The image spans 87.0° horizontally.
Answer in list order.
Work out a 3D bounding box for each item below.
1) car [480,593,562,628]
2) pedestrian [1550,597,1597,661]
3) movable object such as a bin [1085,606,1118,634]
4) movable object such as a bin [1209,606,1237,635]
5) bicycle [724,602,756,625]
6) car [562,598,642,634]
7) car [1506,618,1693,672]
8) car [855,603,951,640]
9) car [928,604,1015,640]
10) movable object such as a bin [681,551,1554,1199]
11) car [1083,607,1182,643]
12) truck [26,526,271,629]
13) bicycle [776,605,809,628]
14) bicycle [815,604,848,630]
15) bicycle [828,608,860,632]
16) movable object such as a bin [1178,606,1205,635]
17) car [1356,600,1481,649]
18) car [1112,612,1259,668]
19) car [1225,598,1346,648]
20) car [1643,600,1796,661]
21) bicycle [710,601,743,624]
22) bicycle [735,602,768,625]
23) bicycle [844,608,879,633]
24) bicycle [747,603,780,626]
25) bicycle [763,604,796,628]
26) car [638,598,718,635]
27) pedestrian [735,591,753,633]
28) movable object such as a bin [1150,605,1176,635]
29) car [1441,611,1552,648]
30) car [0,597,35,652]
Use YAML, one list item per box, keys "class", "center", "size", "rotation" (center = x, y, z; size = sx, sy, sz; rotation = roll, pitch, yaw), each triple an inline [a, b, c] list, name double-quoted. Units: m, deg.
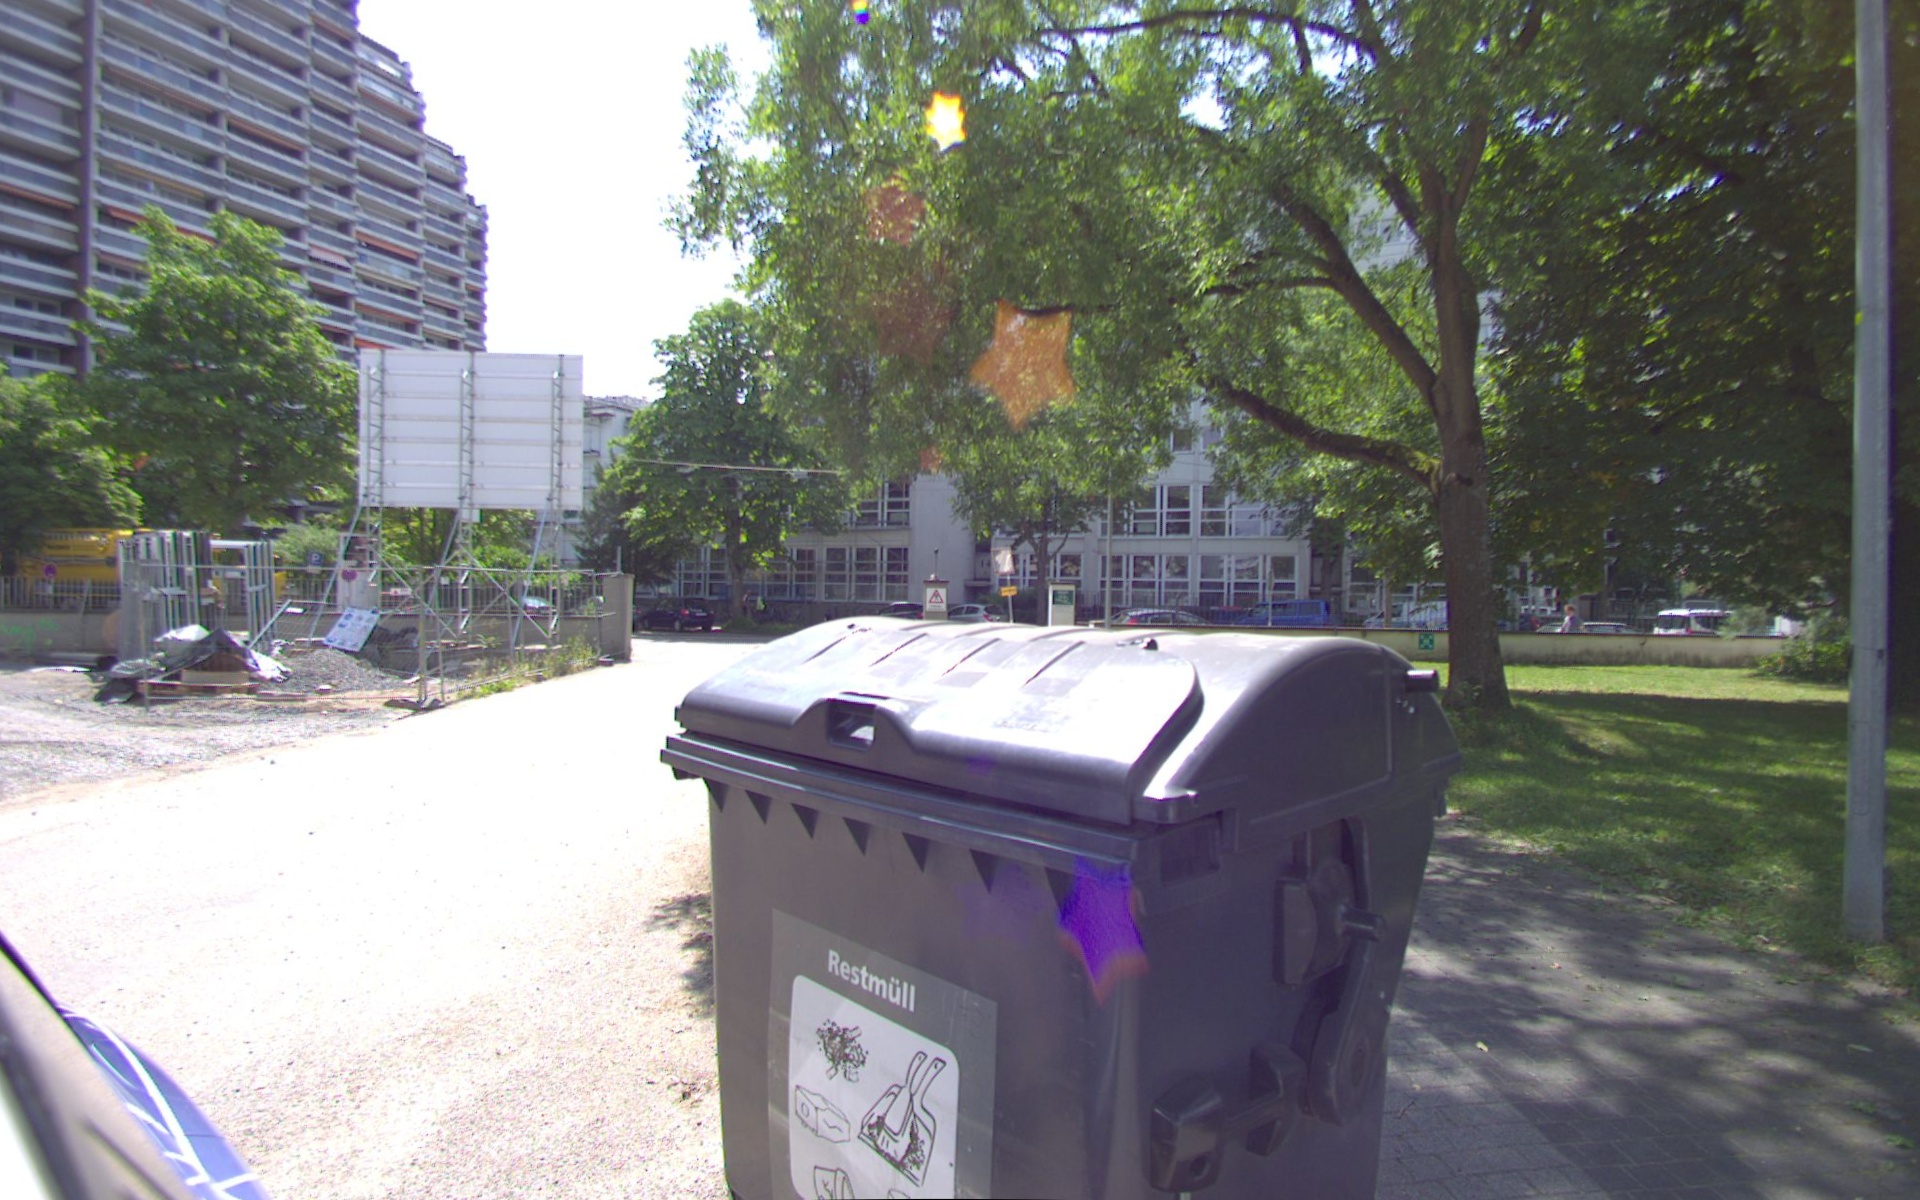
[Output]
- class: "car"
  center: [-18.613, 0.429, 42.875]
  size: [4.021, 1.383, 1.608]
  rotation: [0, 0, 41]
- class: "pedestrian"
  center: [15.410, 0.715, 25.445]
  size: [0.733, 1.579, 0.698]
  rotation: [0, 0, -5]
- class: "movable object such as a bin"
  center: [6.912, 0.975, 49.406]
  size: [1.431, 1.340, 1.126]
  rotation: [1, -1, -1]
- class: "movable object such as a bin"
  center: [12.873, 1.013, 49.643]
  size: [1.167, 1.409, 1.036]
  rotation: [1, -1, 5]
- class: "bicycle"
  center: [-11.202, 0.676, 51.594]
  size: [0.565, 1.139, 1.911]
  rotation: [0, -1, 25]
- class: "car"
  center: [-15.241, 0.661, 42.980]
  size: [1.792, 1.474, 4.027]
  rotation: [0, 0, -43]
- class: "car"
  center: [18.045, 1.256, 28.682]
  size: [4.092, 1.429, 1.884]
  rotation: [1, -1, 0]
- class: "car"
  center: [-2.514, 0.908, 44.014]
  size: [4.195, 1.481, 1.730]
  rotation: [0, -1, 41]
- class: "car"
  center: [0.482, 0.924, 44.091]
  size: [3.538, 1.473, 1.730]
  rotation: [0, -1, 41]
- class: "movable object such as a bin"
  center: [0.265, 0.657, 1.874]
  size: [1.099, 1.404, 1.162]
  rotation: [1, -1, -42]
- class: "car"
  center: [7.499, 1.064, 44.126]
  size: [3.979, 1.424, 1.692]
  rotation: [0, -1, 41]
- class: "truck"
  center: [-33.769, -0.943, 42.134]
  size: [9.650, 4.036, 2.739]
  rotation: [1, 0, 14]
- class: "bicycle"
  center: [-8.277, 0.818, 50.104]
  size: [0.566, 1.139, 1.925]
  rotation: [0, -1, 28]
- class: "bicycle"
  center: [-6.306, 0.854, 49.760]
  size: [0.566, 1.247, 1.925]
  rotation: [0, -1, 28]
- class: "bicycle"
  center: [-5.631, 0.949, 49.255]
  size: [0.566, 1.139, 1.925]
  rotation: [0, -1, 28]
- class: "movable object such as a bin"
  center: [11.363, 0.996, 49.672]
  size: [1.167, 1.409, 1.036]
  rotation: [1, -1, 5]
- class: "car"
  center: [20.127, 1.018, 44.594]
  size: [1.968, 2.029, 4.638]
  rotation: [1, -1, -40]
- class: "car"
  center: [6.269, 1.126, 28.333]
  size: [3.668, 1.468, 1.591]
  rotation: [1, -3, -6]
- class: "car"
  center: [14.142, 0.964, 44.162]
  size: [4.630, 2.029, 1.972]
  rotation: [0, -1, 42]
- class: "car"
  center: [25.023, 0.999, 33.411]
  size: [3.940, 1.868, 1.521]
  rotation: [0, 3, -4]
- class: "bicycle"
  center: [-11.943, 0.644, 51.825]
  size: [0.565, 1.139, 1.911]
  rotation: [0, -1, 25]
- class: "bicycle"
  center: [-10.530, 0.691, 51.220]
  size: [0.566, 1.139, 1.909]
  rotation: [0, -1, 28]
- class: "bicycle"
  center: [-4.780, 0.989, 49.165]
  size: [0.566, 1.139, 2.213]
  rotation: [0, -1, 28]
- class: "bicycle"
  center: [-9.867, 0.726, 50.881]
  size: [0.566, 1.139, 1.925]
  rotation: [0, -1, 28]
- class: "bicycle"
  center: [-8.990, 0.787, 50.440]
  size: [0.566, 1.139, 1.925]
  rotation: [0, -1, 28]
- class: "car"
  center: [-12.049, 0.678, 43.191]
  size: [3.574, 1.528, 1.627]
  rotation: [0, 0, 41]
- class: "pedestrian"
  center: [-9.950, 0.554, 46.604]
  size: [0.571, 1.889, 0.713]
  rotation: [1, -1, 11]
- class: "movable object such as a bin"
  center: [9.964, 0.981, 49.695]
  size: [1.167, 1.409, 1.036]
  rotation: [1, -1, 5]
- class: "car"
  center: [23.613, 1.284, 44.627]
  size: [1.643, 1.497, 4.009]
  rotation: [1, -1, -37]
- class: "car"
  center: [-27.054, 0.628, 26.873]
  size: [3.534, 1.451, 1.622]
  rotation: [1, 0, 2]
